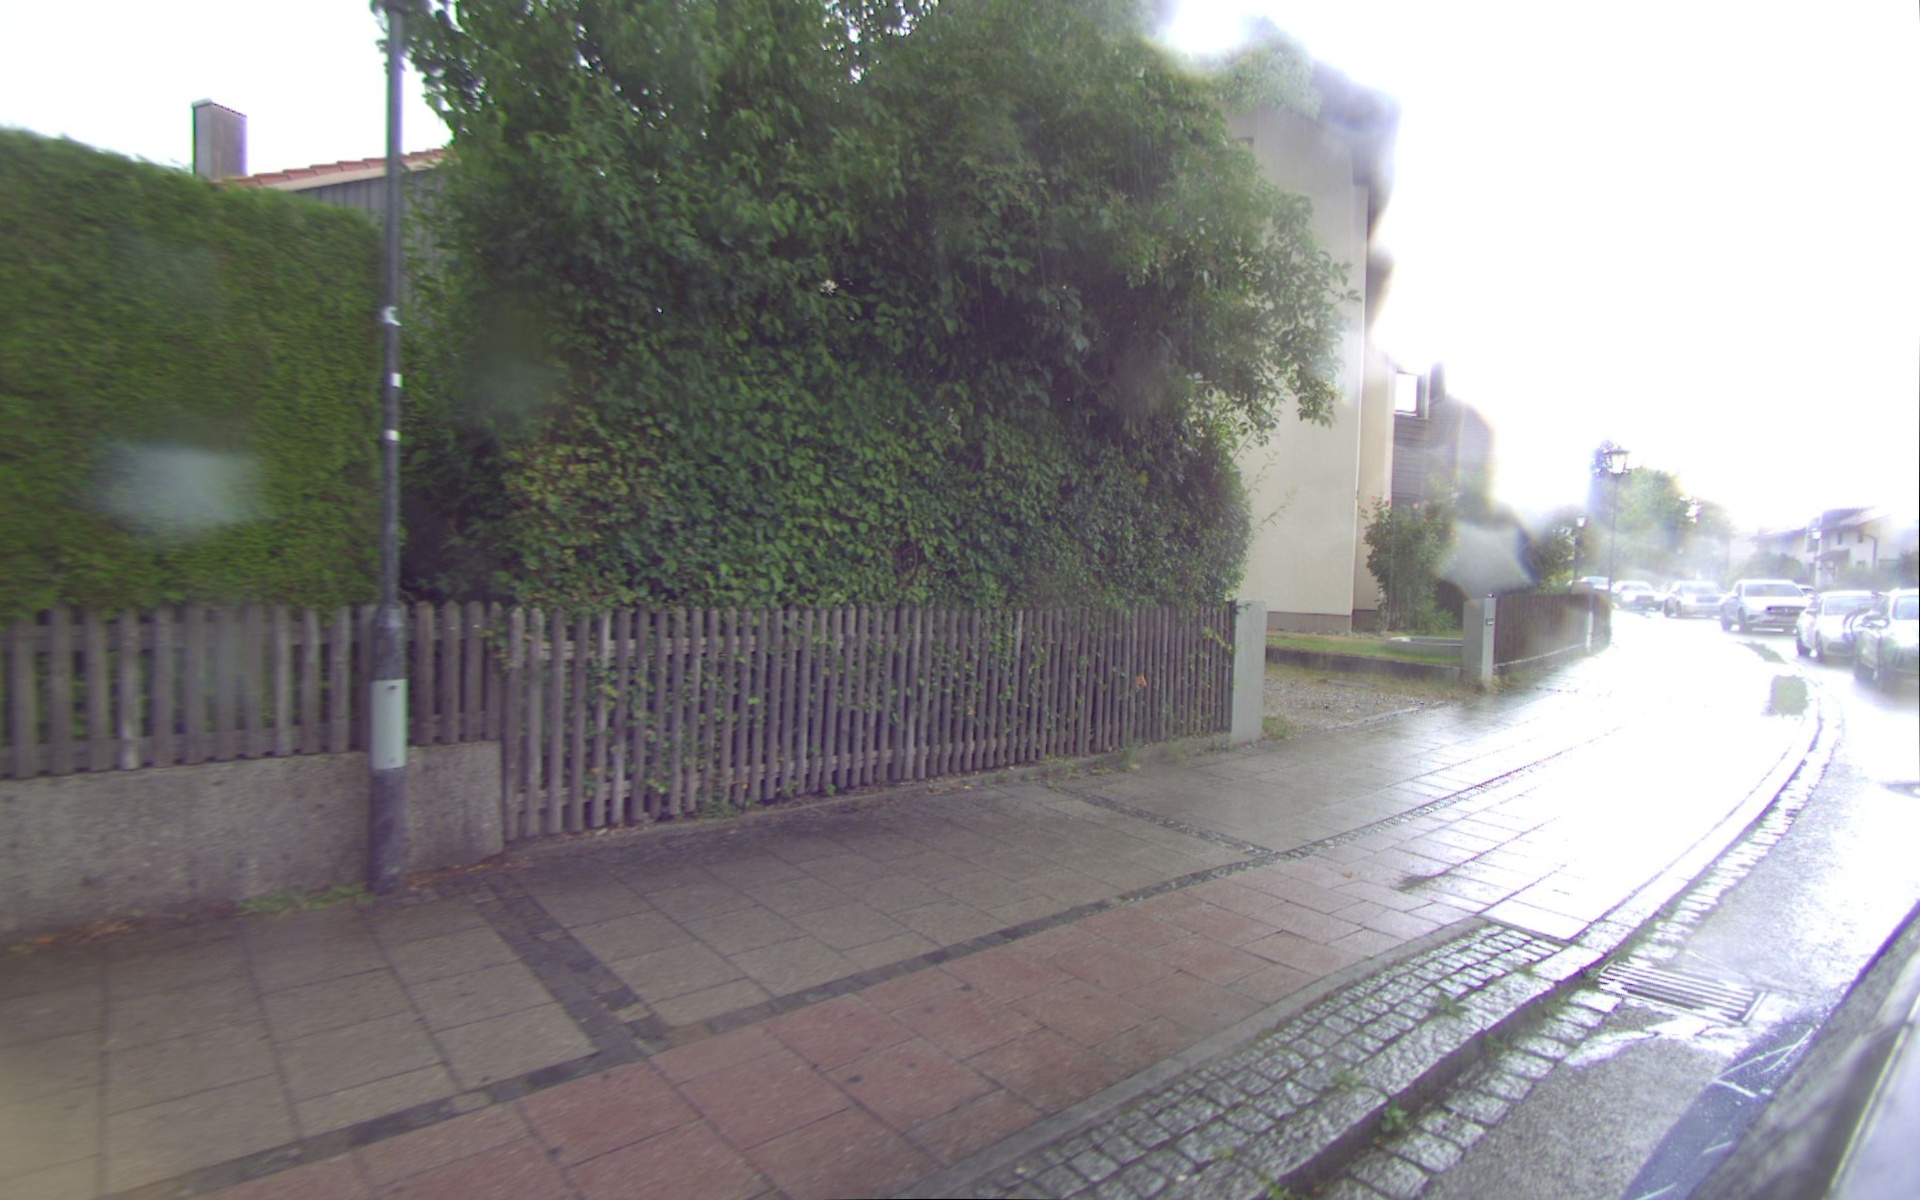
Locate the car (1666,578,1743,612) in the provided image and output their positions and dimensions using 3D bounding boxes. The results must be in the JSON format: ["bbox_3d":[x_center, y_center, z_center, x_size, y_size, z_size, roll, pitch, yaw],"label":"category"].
[{"bbox_3d":[31.890,-0.239,43.456,1.776,1.391,4.246,0,1,24],"label":"car"}]

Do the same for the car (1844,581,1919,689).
[{"bbox_3d":[15.306,0.449,15.771,1.784,1.497,5.317,0,1,36],"label":"car"}]

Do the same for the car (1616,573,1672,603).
[{"bbox_3d":[36.433,-0.639,54.007,1.776,1.568,4.246,0,1,24],"label":"car"}]

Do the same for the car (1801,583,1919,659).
[{"bbox_3d":[18.921,0.370,21.116,1.784,1.412,4.226,0,1,36],"label":"car"}]

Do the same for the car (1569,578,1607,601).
[{"bbox_3d":[45.270,-0.751,73.024,1.776,1.568,4.246,0,1,24],"label":"car"}]

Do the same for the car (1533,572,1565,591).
[{"bbox_3d":[51.576,-1.599,88.701,1.773,1.568,4.252,0,1,21],"label":"car"}]

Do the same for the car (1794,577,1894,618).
[{"bbox_3d":[34.353,-0.126,39.451,1.798,1.509,4.026,1,1,24],"label":"car"}]

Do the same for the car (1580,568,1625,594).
[{"bbox_3d":[41.004,-1.197,64.665,1.776,1.568,4.246,0,1,24],"label":"car"}]

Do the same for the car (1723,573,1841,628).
[{"bbox_3d":[25.159,-0.003,31.141,1.776,1.568,4.246,0,1,24],"label":"car"}]
